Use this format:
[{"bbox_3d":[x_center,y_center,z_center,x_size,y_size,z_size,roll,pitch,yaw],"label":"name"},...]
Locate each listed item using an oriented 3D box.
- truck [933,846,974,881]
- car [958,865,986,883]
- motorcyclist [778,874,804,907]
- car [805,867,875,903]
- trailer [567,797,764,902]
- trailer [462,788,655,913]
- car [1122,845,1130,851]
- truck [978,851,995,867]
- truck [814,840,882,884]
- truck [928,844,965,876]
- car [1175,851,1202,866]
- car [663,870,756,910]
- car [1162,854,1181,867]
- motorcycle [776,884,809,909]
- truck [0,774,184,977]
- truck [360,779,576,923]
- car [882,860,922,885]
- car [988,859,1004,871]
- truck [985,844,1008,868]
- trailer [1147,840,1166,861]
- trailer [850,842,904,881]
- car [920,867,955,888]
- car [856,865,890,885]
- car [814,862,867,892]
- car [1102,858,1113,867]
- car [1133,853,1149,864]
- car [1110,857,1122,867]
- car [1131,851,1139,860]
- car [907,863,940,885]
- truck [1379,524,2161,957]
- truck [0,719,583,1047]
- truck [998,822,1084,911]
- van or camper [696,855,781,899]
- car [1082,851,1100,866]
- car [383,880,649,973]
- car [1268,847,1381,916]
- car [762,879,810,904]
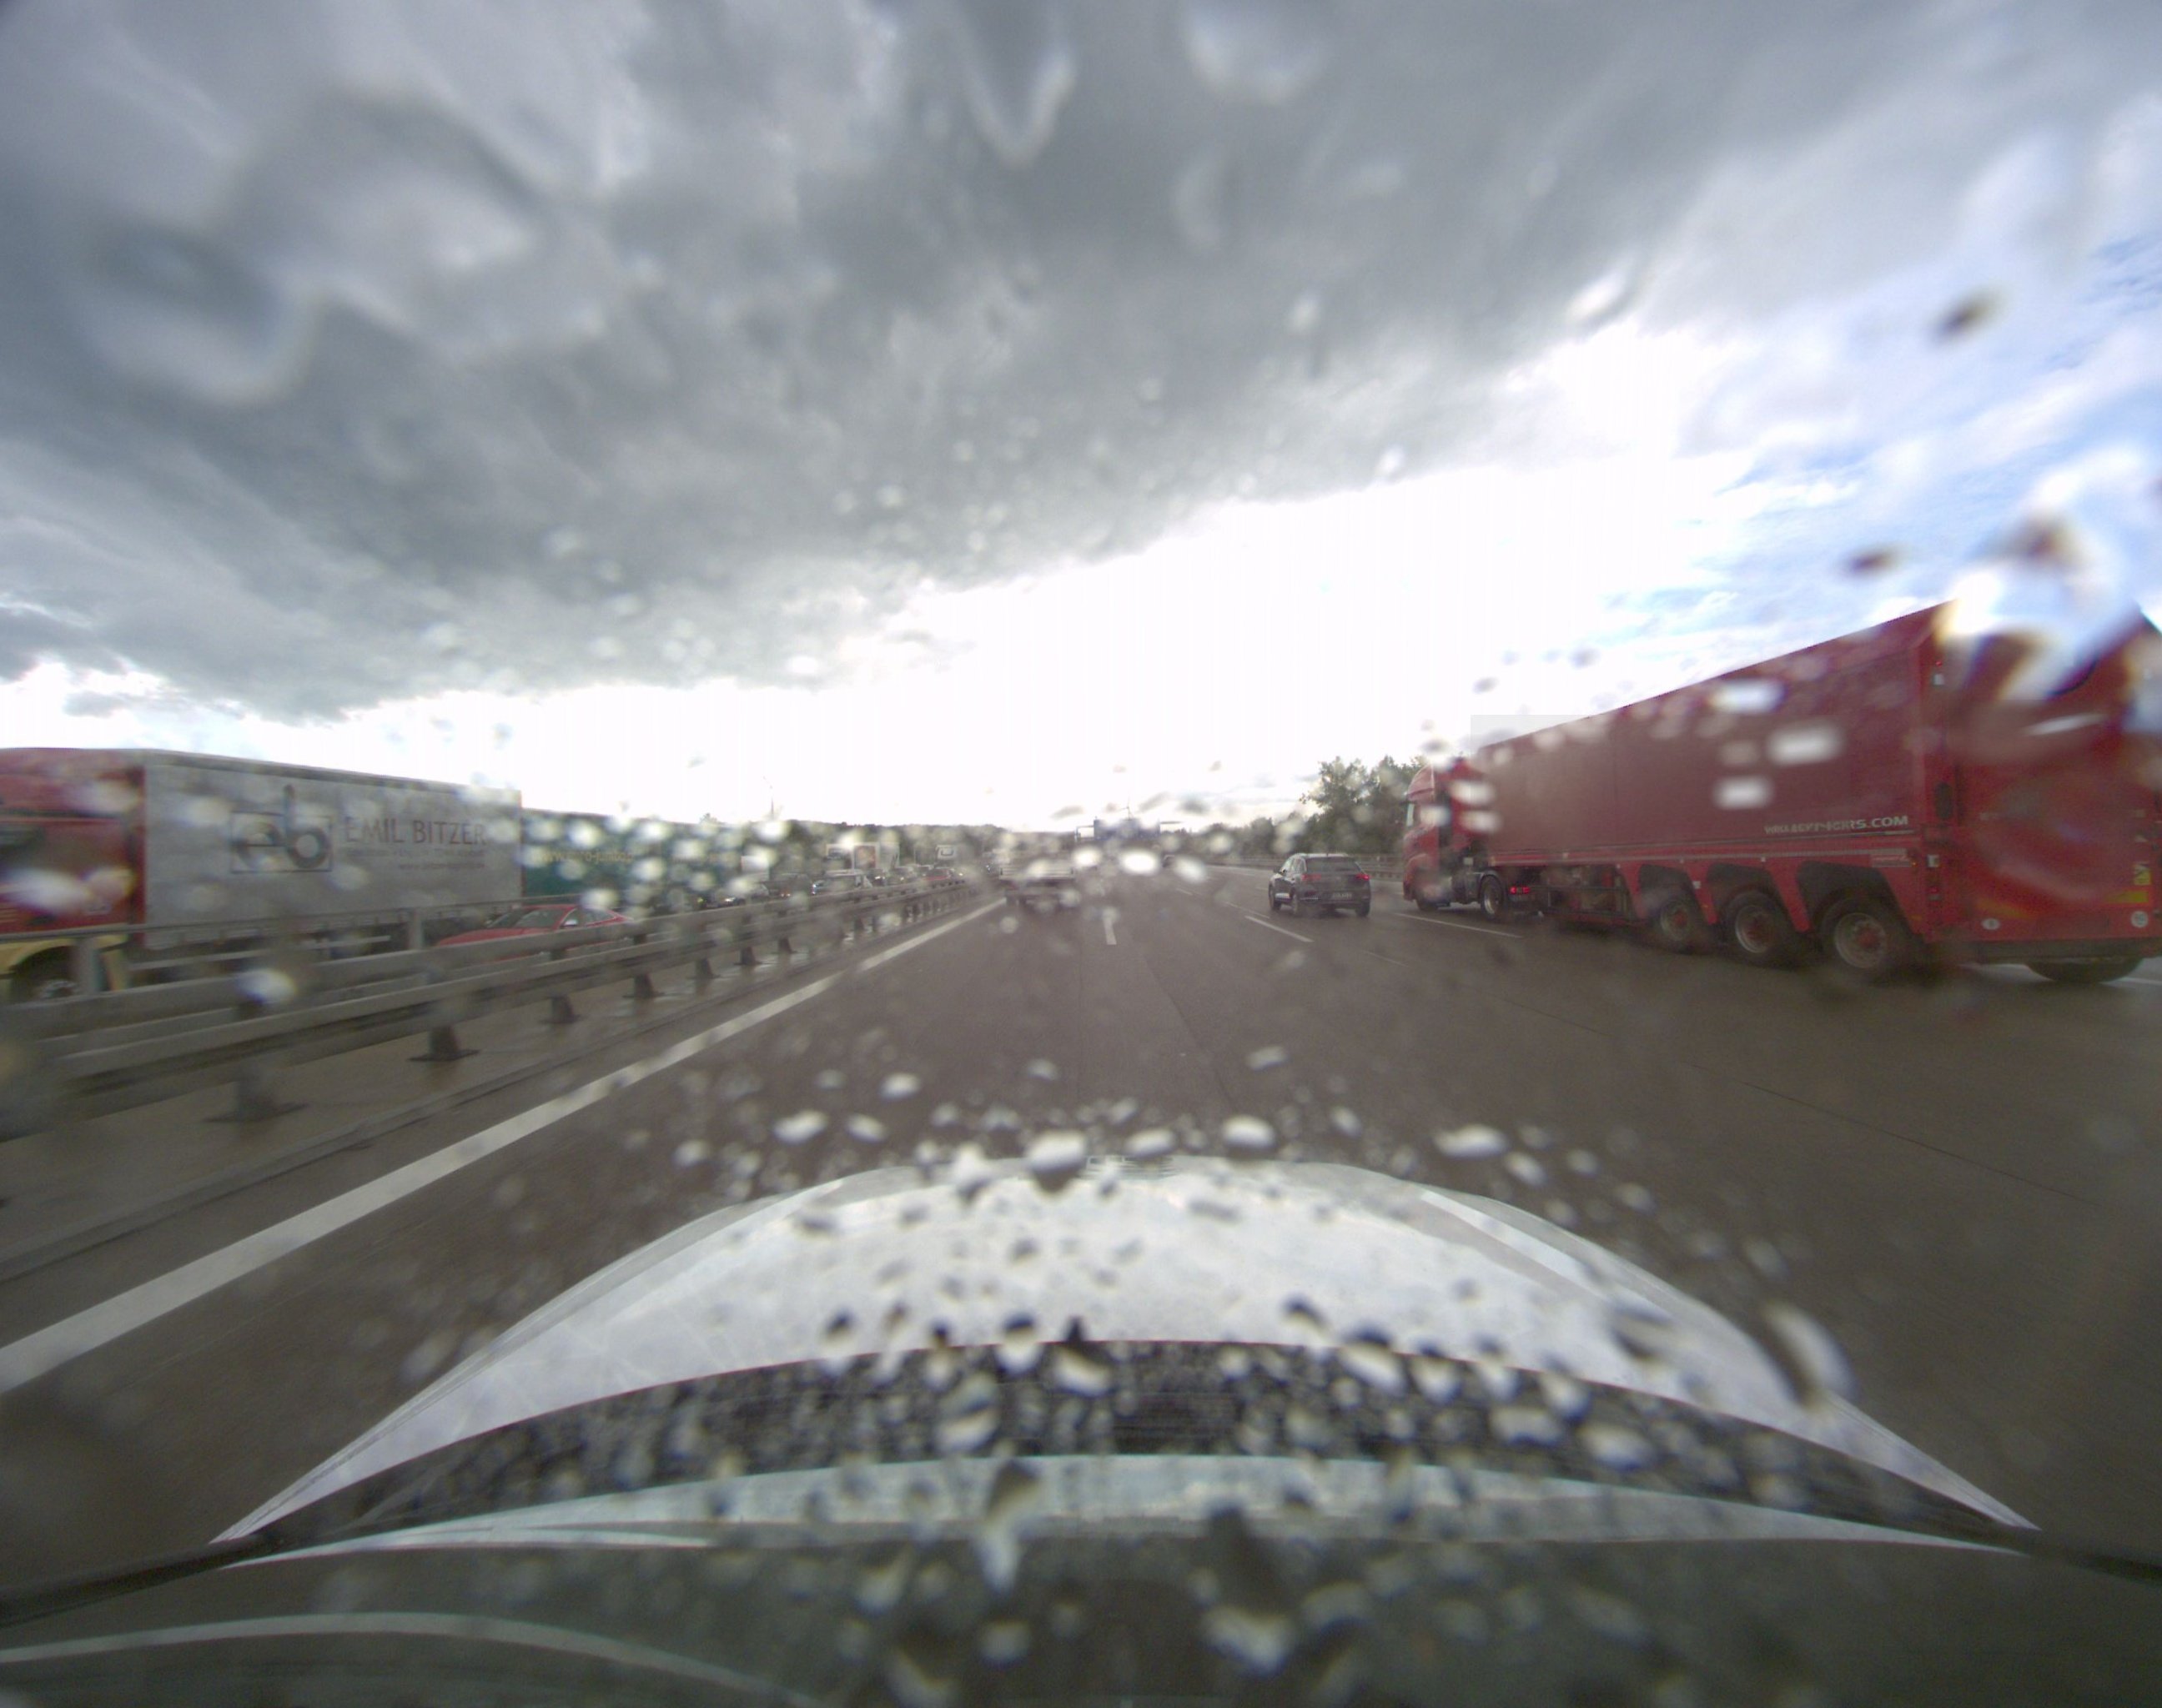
[{"bbox_3d":[-13.463,0.968,86.637,2.510,3.399,8.544,-2,0,2],"label":"truck"},{"bbox_3d":[-10.206,1.822,76.563,1.713,1.502,5.505,-2,0,2],"label":"car"},{"bbox_3d":[-12.782,1.600,35.905,0.725,1.341,1.030,-2,0,2],"label":"motorcyclist"},{"bbox_3d":[-10.911,1.365,37.160,1.825,1.452,4.002,-2,0,2],"label":"car"},{"bbox_3d":[-18.460,-0.148,37.535,2.808,4.061,11.606,-1,0,2],"label":"trailer"},{"bbox_3d":[-18.675,-0.109,29.686,2.824,4.029,6.316,-1,0,1],"label":"trailer"},{"bbox_3d":[11.743,-1.473,212.152,1.807,1.445,3.999,-2,0,-1],"label":"car"},{"bbox_3d":[-19.461,1.015,168.241,2.508,2.986,7.022,-2,0,1],"label":"truck"},{"bbox_3d":[-22.283,0.741,78.655,3.213,3.910,10.286,-1,0,2],"label":"truck"},{"bbox_3d":[-16.982,0.757,103.317,3.187,3.933,7.577,-1,0,2],"label":"truck"},{"bbox_3d":[11.472,0.464,86.950,2.099,1.605,5.063,-1,0,-1],"label":"car"},{"bbox_3d":[-15.212,1.430,33.571,1.825,1.452,4.002,-2,0,2],"label":"car"},{"bbox_3d":[12.309,0.869,111.172,2.039,1.699,5.005,-1,0,-1],"label":"car"},{"bbox_3d":[-12.764,1.858,36.023,0.731,0.966,1.790,-2,0,2],"label":"motorcycle"},{"bbox_3d":[-22.642,0.473,13.280,2.710,3.982,11.698,-2,0,2],"label":"truck"},{"bbox_3d":[-18.785,-0.079,25.392,2.834,4.029,4.965,-1,0,1],"label":"truck"},{"bbox_3d":[-13.683,1.378,62.510,1.713,1.728,5.107,-2,0,2],"label":"car"},{"bbox_3d":[-12.772,1.623,122.506,1.814,1.624,4.700,-2,0,2],"label":"car"},{"bbox_3d":[-15.860,0.323,153.453,3.166,4.194,7.740,-2,0,1],"label":"truck"},{"bbox_3d":[15.729,-0.623,169.426,3.319,4.176,11.845,-1,0,2],"label":"trailer"},{"bbox_3d":[-21.949,0.798,88.203,3.207,3.959,8.854,-1,0,2],"label":"trailer"},{"bbox_3d":[-10.347,1.680,59.049,1.567,1.354,4.386,-2,0,2],"label":"car"},{"bbox_3d":[-18.027,1.771,70.713,1.713,1.535,4.087,-2,0,2],"label":"car"},{"bbox_3d":[-14.210,1.325,48.422,1.758,1.624,4.778,-2,0,-1],"label":"car"},{"bbox_3d":[5.263,1.667,162.513,1.966,1.699,3.998,-1,0,-1],"label":"car"},{"bbox_3d":[9.226,0.684,126.018,2.091,1.699,3.998,-1,0,-1],"label":"car"},{"bbox_3d":[6.141,1.363,143.869,2.038,1.699,4.001,-1,0,1],"label":"car"},{"bbox_3d":[14.277,0.372,216.104,2.037,2.498,4.002,-1,0,2],"label":"car"},{"bbox_3d":[-13.879,1.728,72.073,1.713,1.700,5.057,-2,0,2],"label":"car"},{"bbox_3d":[9.934,-1.096,15.417,3.141,4.003,15.641,-1,0,1],"label":"truck"},{"bbox_3d":[-15.116,0.428,15.785,2.974,4.149,12.523,-2,0,1],"label":"truck"},{"bbox_3d":[-1.145,0.343,25.952,2.346,2.408,7.355,-1,0,-1],"label":"truck"},{"bbox_3d":[-22.200,1.392,53.225,2.235,2.578,7.364,-2,0,1],"label":"van or camper"},{"bbox_3d":[1.181,0.533,97.782,2.037,1.699,4.002,-1,0,2],"label":"car"},{"bbox_3d":[-11.271,1.351,16.841,1.916,1.419,5.012,-2,0,1],"label":"car"},{"bbox_3d":[6.055,0.653,20.675,1.786,1.562,3.722,-1,0,1],"label":"car"},{"bbox_3d":[-18.047,2.287,49.949,1.567,1.333,3.433,-2,0,2],"label":"car"}]
